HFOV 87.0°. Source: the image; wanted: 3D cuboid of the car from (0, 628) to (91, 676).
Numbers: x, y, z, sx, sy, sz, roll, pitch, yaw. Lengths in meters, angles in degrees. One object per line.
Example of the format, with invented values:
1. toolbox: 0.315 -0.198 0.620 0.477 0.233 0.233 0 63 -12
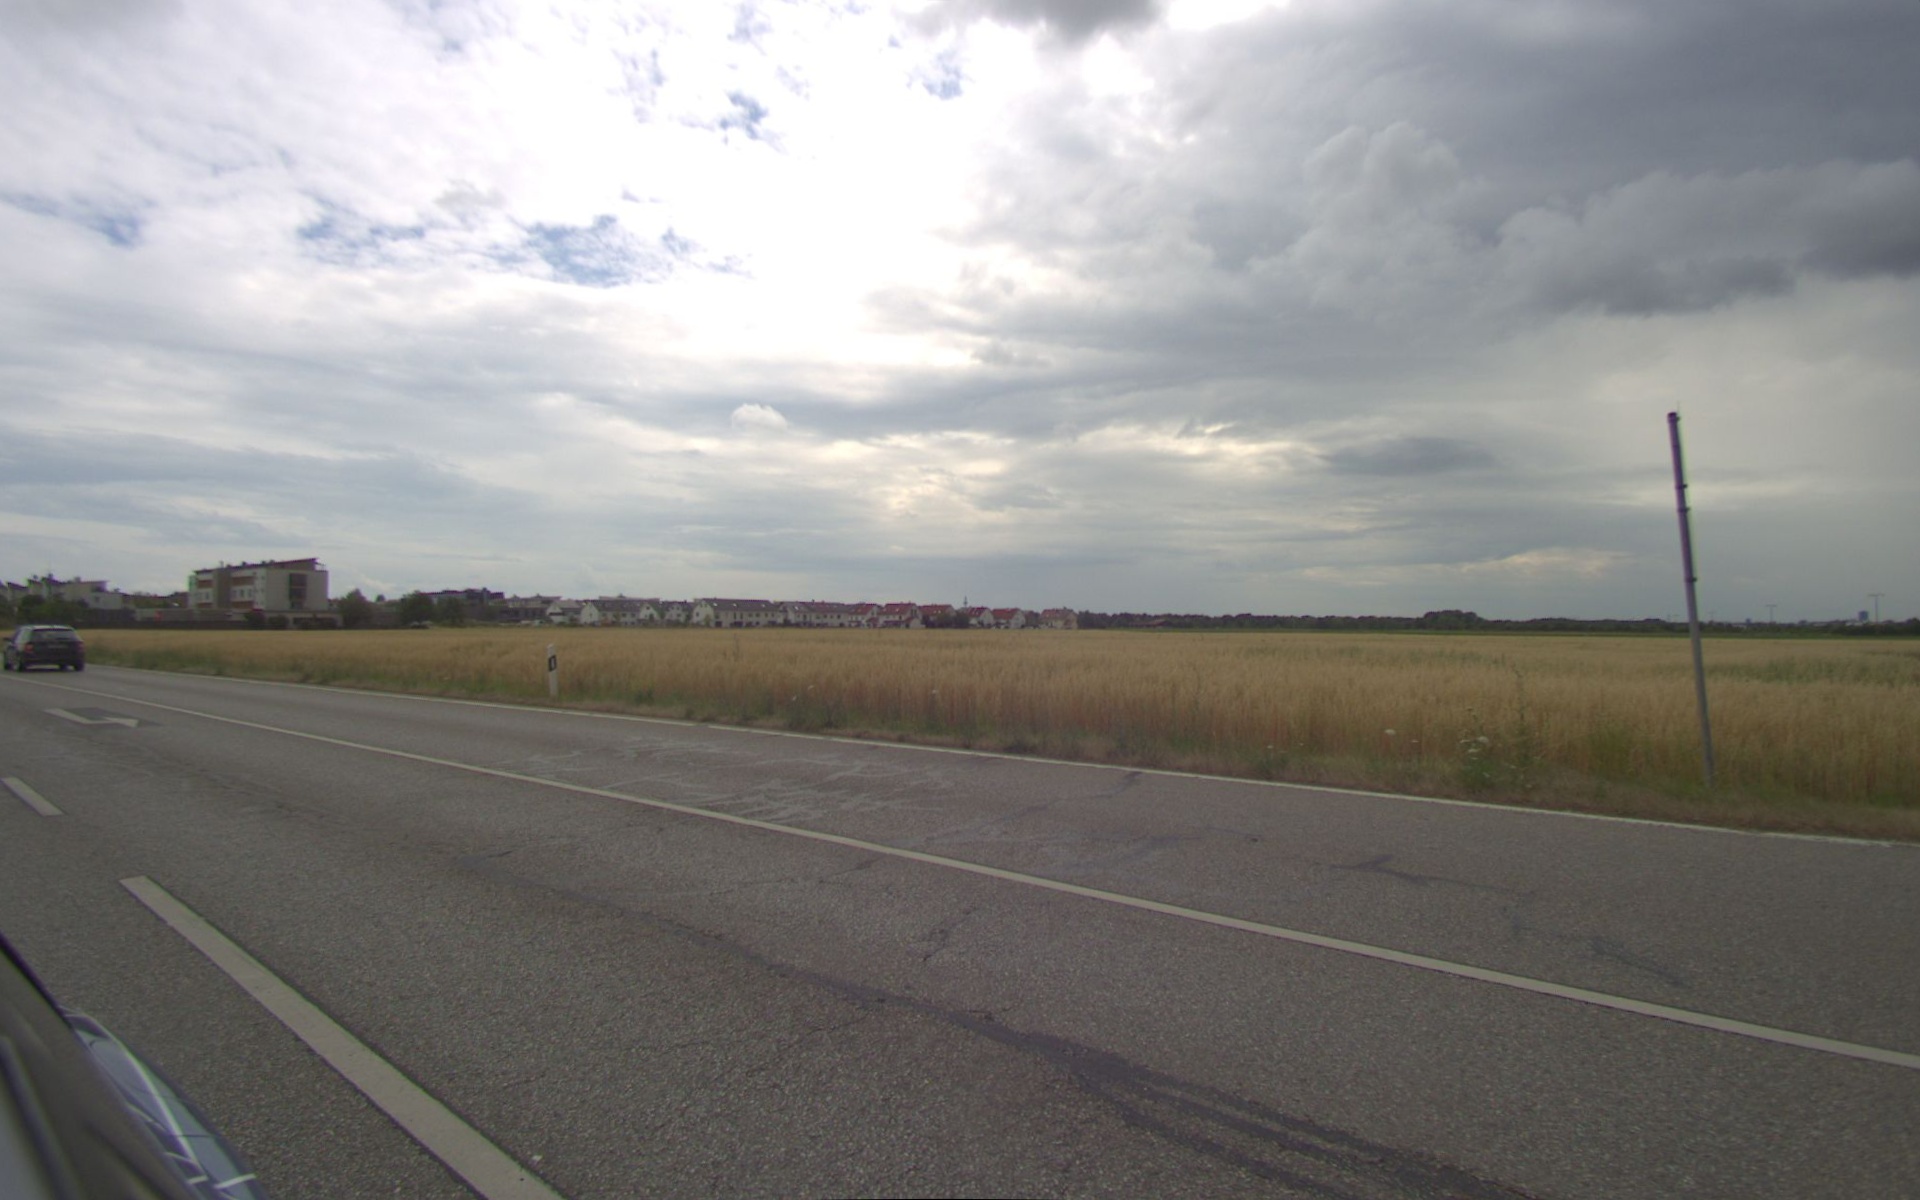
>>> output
1. car: -30.003 1.670 33.093 4.128 1.469 1.718 -1 -2 40
